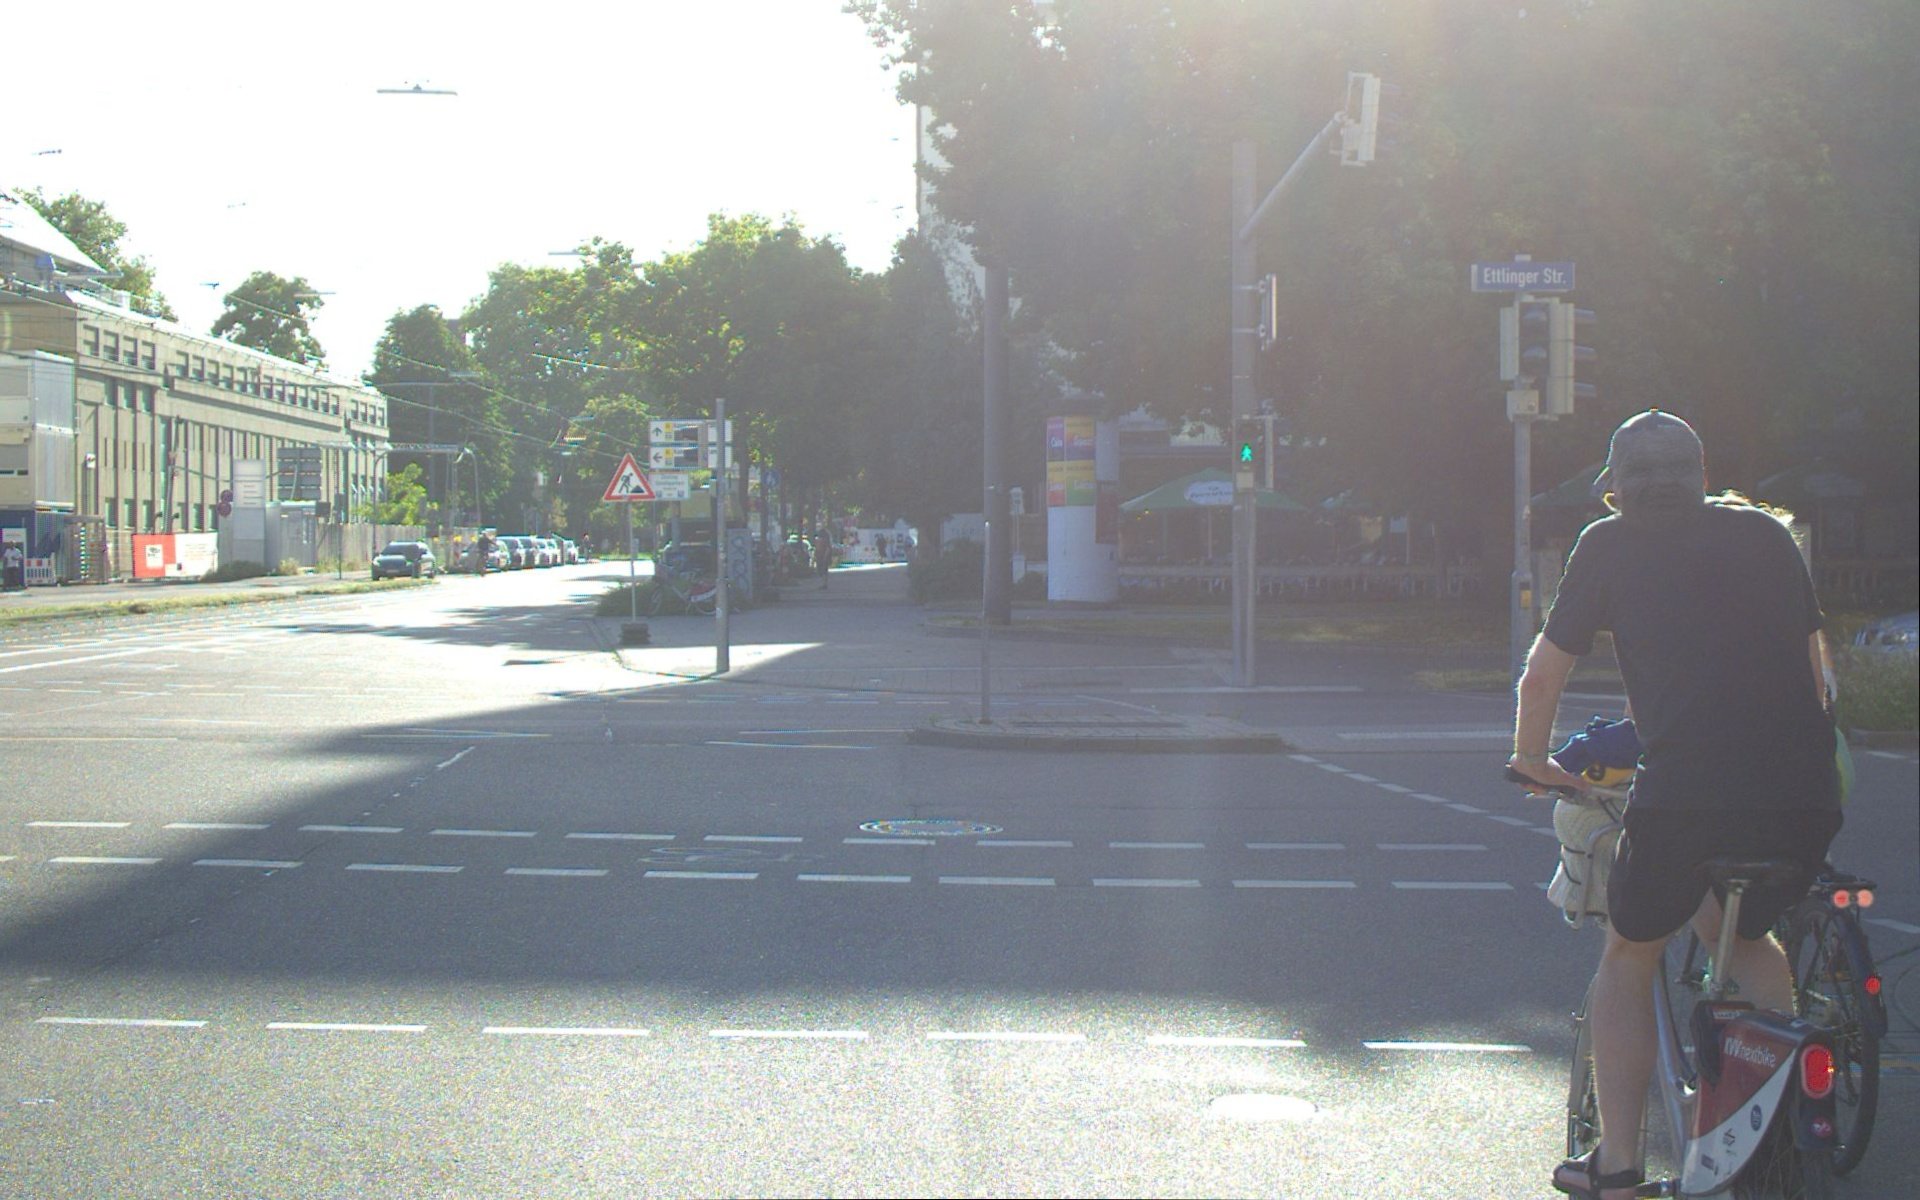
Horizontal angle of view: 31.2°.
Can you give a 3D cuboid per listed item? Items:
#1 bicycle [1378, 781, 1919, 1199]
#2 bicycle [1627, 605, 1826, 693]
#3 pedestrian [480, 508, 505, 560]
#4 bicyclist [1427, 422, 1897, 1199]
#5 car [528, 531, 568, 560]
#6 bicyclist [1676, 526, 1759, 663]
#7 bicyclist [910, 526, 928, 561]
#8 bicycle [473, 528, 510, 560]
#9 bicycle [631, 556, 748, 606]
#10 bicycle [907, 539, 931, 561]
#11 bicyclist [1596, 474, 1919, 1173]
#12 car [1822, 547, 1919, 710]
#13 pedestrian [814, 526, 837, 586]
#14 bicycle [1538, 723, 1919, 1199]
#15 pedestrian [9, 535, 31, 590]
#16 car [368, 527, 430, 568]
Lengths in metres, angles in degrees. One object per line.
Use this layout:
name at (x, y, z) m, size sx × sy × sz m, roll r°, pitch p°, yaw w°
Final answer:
bicycle at (1.370, 0.940, 6.791) m, size 0.623 × 1.040 × 1.747 m, roll 0°, pitch 1°, yaw -9°
bicycle at (7.977, 0.505, 35.854) m, size 1.944 × 0.886 × 0.717 m, roll 1°, pitch 0°, yaw 6°
pedestrian at (-18.740, -2.640, 137.683) m, size 0.751 × 2.056 × 1.050 m, roll 1°, pitch 0°, yaw 5°
bicyclist at (1.358, 0.521, 6.782) m, size 0.623 × 1.709 × 0.913 m, roll 0°, pitch 1°, yaw -9°
car at (-23.259, -3.069, 194.170) m, size 1.993 × 1.638 × 4.001 m, roll 0°, pitch 1°, yaw -4°
bicyclist at (7.897, -0.058, 35.854) m, size 0.747 × 1.401 × 0.702 m, roll 1°, pitch 0°, yaw 6°
bicyclist at (-2.408, -3.286, 199.857) m, size 0.890 × 2.007 × 0.749 m, roll 1°, pitch 0°, yaw -12°
bicycle at (-18.747, -2.235, 137.620) m, size 0.751 × 1.201 × 3.107 m, roll 1°, pitch 0°, yaw 5°
bicycle at (-5.248, -0.371, 66.681) m, size 2.244 × 0.937 × 0.654 m, roll -1°, pitch 1°, yaw -5°
bicycle at (-2.394, -2.899, 199.782) m, size 0.890 × 1.215 × 2.794 m, roll 1°, pitch 0°, yaw -12°
bicyclist at (2.112, 0.545, 9.024) m, size 0.583 × 1.732 × 0.950 m, roll 0°, pitch 1°, yaw -9°
car at (10.842, 0.293, 33.048) m, size 4.576 × 1.511 × 2.000 m, roll 1°, pitch 0°, yaw 0°
pedestrian at (-3.788, -1.251, 96.981) m, size 0.576 × 1.683 × 0.585 m, roll -1°, pitch 1°, yaw -8°
bicycle at (2.100, 0.895, 9.105) m, size 0.582 × 1.040 × 1.747 m, roll 0°, pitch 1°, yaw -10°
pedestrian at (-32.021, -1.280, 117.125) m, size 0.588 × 1.883 × 0.478 m, roll 1°, pitch 0°, yaw 4°
car at (-22.015, -2.063, 135.090) m, size 1.993 × 1.593 × 4.001 m, roll 0°, pitch 1°, yaw -3°
